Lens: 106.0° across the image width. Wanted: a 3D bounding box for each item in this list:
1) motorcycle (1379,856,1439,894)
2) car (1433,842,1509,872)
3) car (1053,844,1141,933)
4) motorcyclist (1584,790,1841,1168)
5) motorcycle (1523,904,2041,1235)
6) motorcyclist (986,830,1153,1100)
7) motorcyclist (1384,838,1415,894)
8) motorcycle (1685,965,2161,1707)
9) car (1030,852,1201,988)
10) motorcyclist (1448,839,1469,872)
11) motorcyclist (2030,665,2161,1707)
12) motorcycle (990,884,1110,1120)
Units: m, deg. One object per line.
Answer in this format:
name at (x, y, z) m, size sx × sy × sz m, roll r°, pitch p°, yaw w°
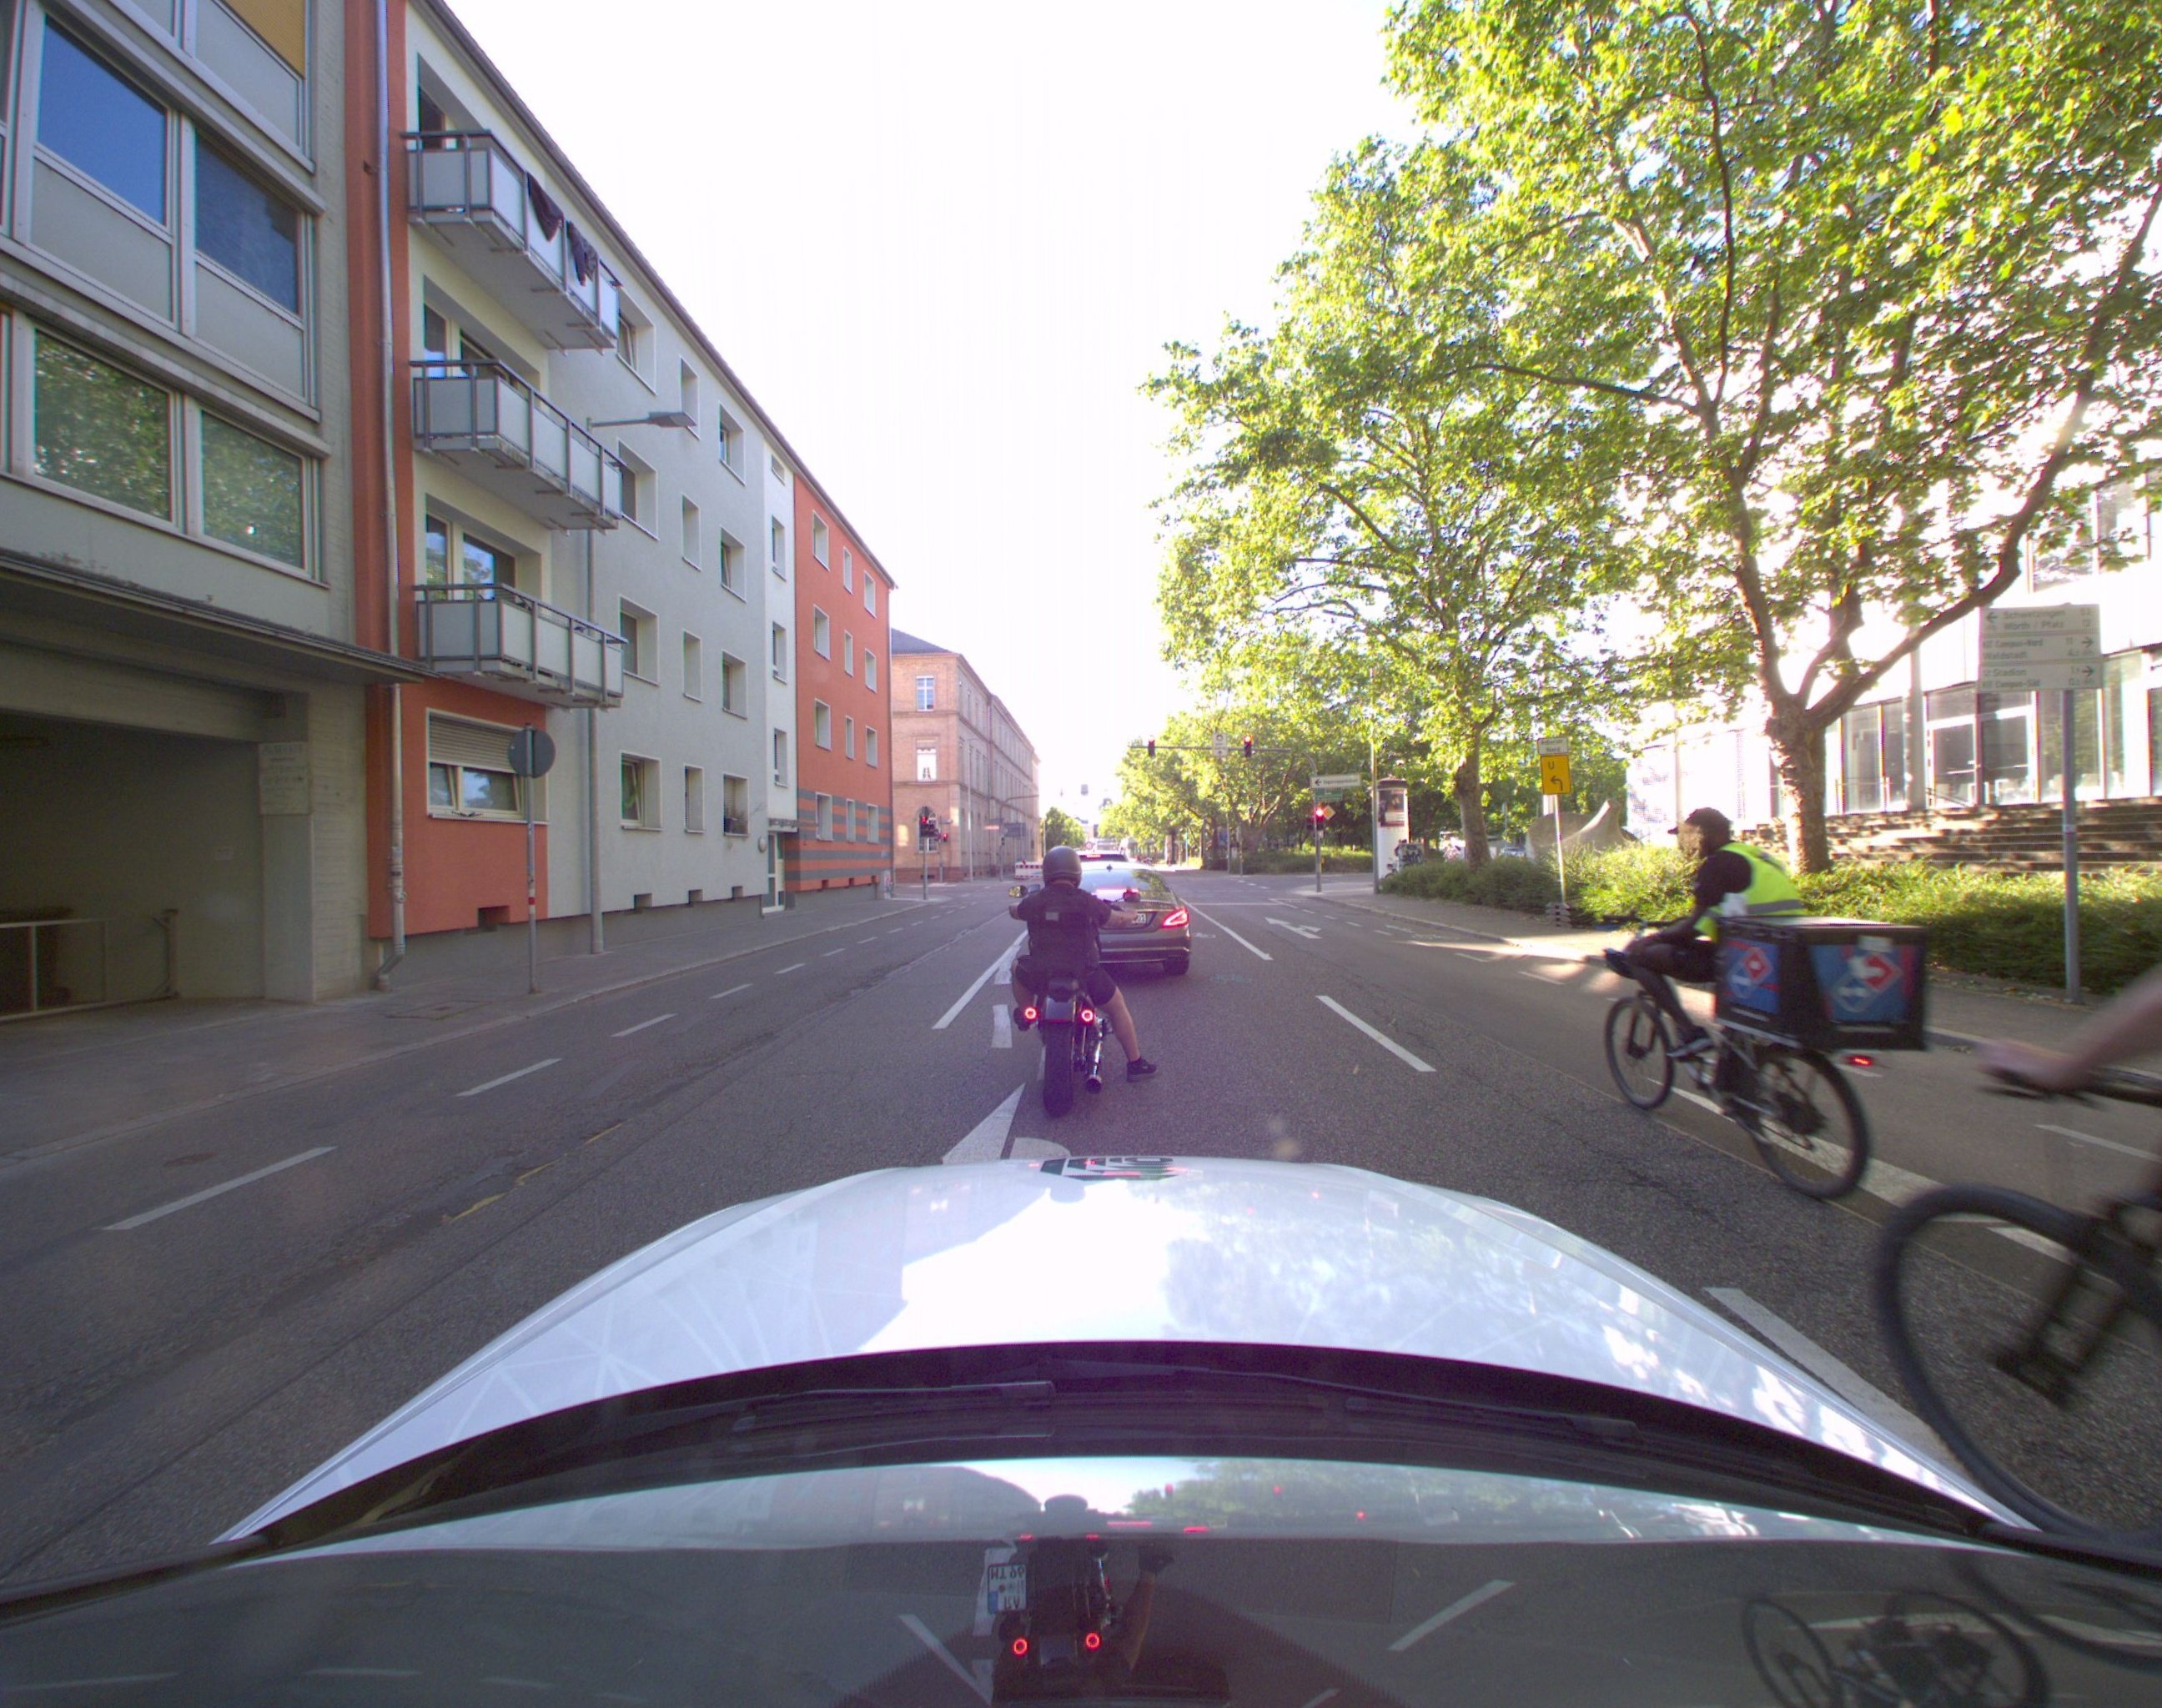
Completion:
motorcycle at (11.073, 0.710, 27.539) m, size 1.771 × 1.243 × 0.724 m, roll 0°, pitch -1°, yaw 7°
car at (24.631, 0.200, 51.518) m, size 3.974 × 1.772 × 1.738 m, roll -1°, pitch 0°, yaw -1°
car at (0.361, 0.662, 17.331) m, size 1.645 × 1.652 × 4.002 m, roll 0°, pitch -1°, yaw 2°
motorcyclist at (3.155, 0.582, 4.147) m, size 0.714 × 1.743 × 0.751 m, roll 0°, pitch -1°, yaw 1°
motorcycle at (3.263, 0.885, 4.208) m, size 0.794 × 1.131 × 2.237 m, roll 0°, pitch -1°, yaw 2°
motorcyclist at (-0.052, 0.672, 5.444) m, size 0.986 × 1.611 × 1.121 m, roll 0°, pitch -1°, yaw 1°
motorcyclist at (10.769, 0.391, 27.563) m, size 0.818 × 1.863 × 0.673 m, roll 0°, pitch -1°, yaw 7°
motorcycle at (2.164, 0.903, 1.394) m, size 0.859 × 1.168 × 1.930 m, roll 0°, pitch -1°, yaw 2°
car at (0.262, 0.746, 11.239) m, size 1.821 × 1.486 × 4.325 m, roll 0°, pitch 0°, yaw -5°
motorcyclist at (21.841, 0.080, 47.138) m, size 0.978 × 1.876 × 0.377 m, roll -1°, pitch -1°, yaw 6°
motorcyclist at (2.133, 0.588, 1.008) m, size 0.828 × 1.788 × 0.913 m, roll 0°, pitch -1°, yaw 1°
motorcycle at (-0.140, 0.857, 5.537) m, size 0.657 × 1.240 × 2.058 m, roll 0°, pitch -1°, yaw 2°
